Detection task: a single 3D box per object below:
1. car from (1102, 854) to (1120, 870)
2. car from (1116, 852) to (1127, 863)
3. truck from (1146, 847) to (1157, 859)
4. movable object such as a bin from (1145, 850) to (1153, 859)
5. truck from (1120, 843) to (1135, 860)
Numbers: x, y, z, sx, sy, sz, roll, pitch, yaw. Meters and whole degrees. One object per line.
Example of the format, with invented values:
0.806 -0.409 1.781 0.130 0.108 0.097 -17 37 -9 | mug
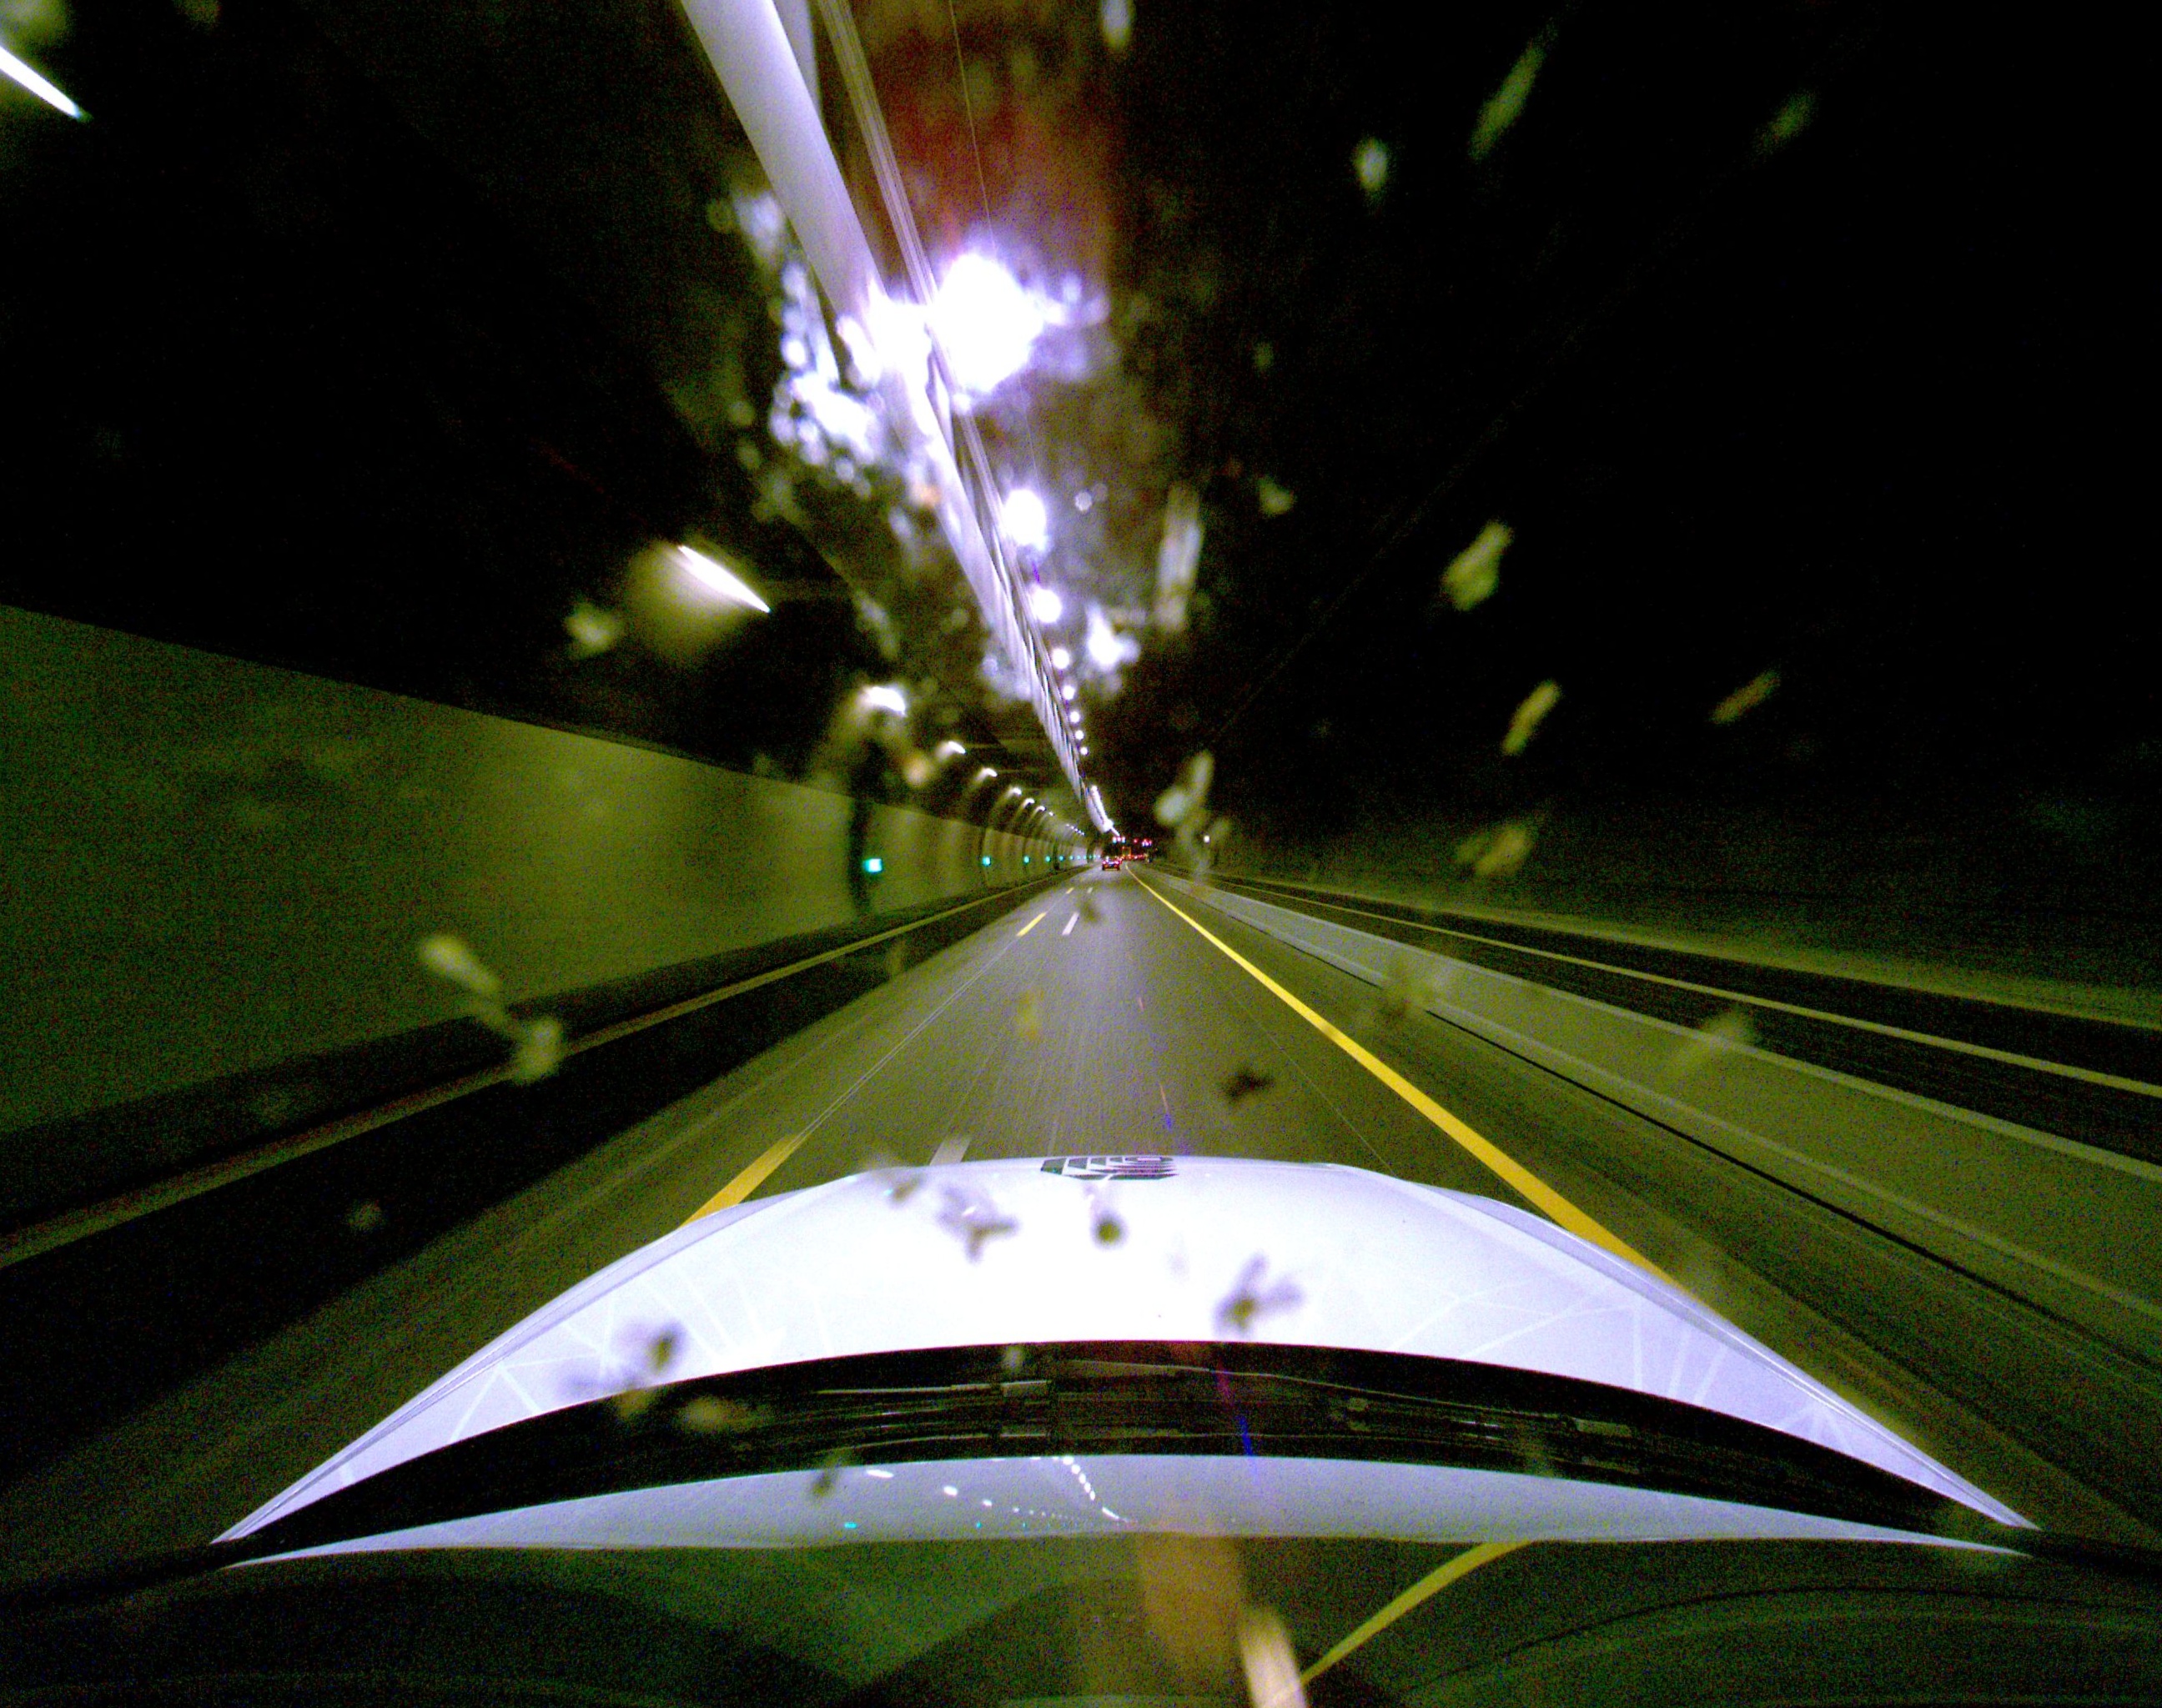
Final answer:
3.160 0.833 87.068 1.881 1.607 4.000 -1 0 1 | car
7.737 0.704 155.031 1.986 2.013 4.002 -1 0 2 | car
19.467 -0.164 226.525 2.879 3.272 8.410 -1 0 4 | truck
19.693 0.168 235.753 2.228 2.794 7.240 -1 0 4 | movable object such as a bin
14.730 -0.710 258.890 4.526 4.987 9.608 -1 -1 4 | truck
